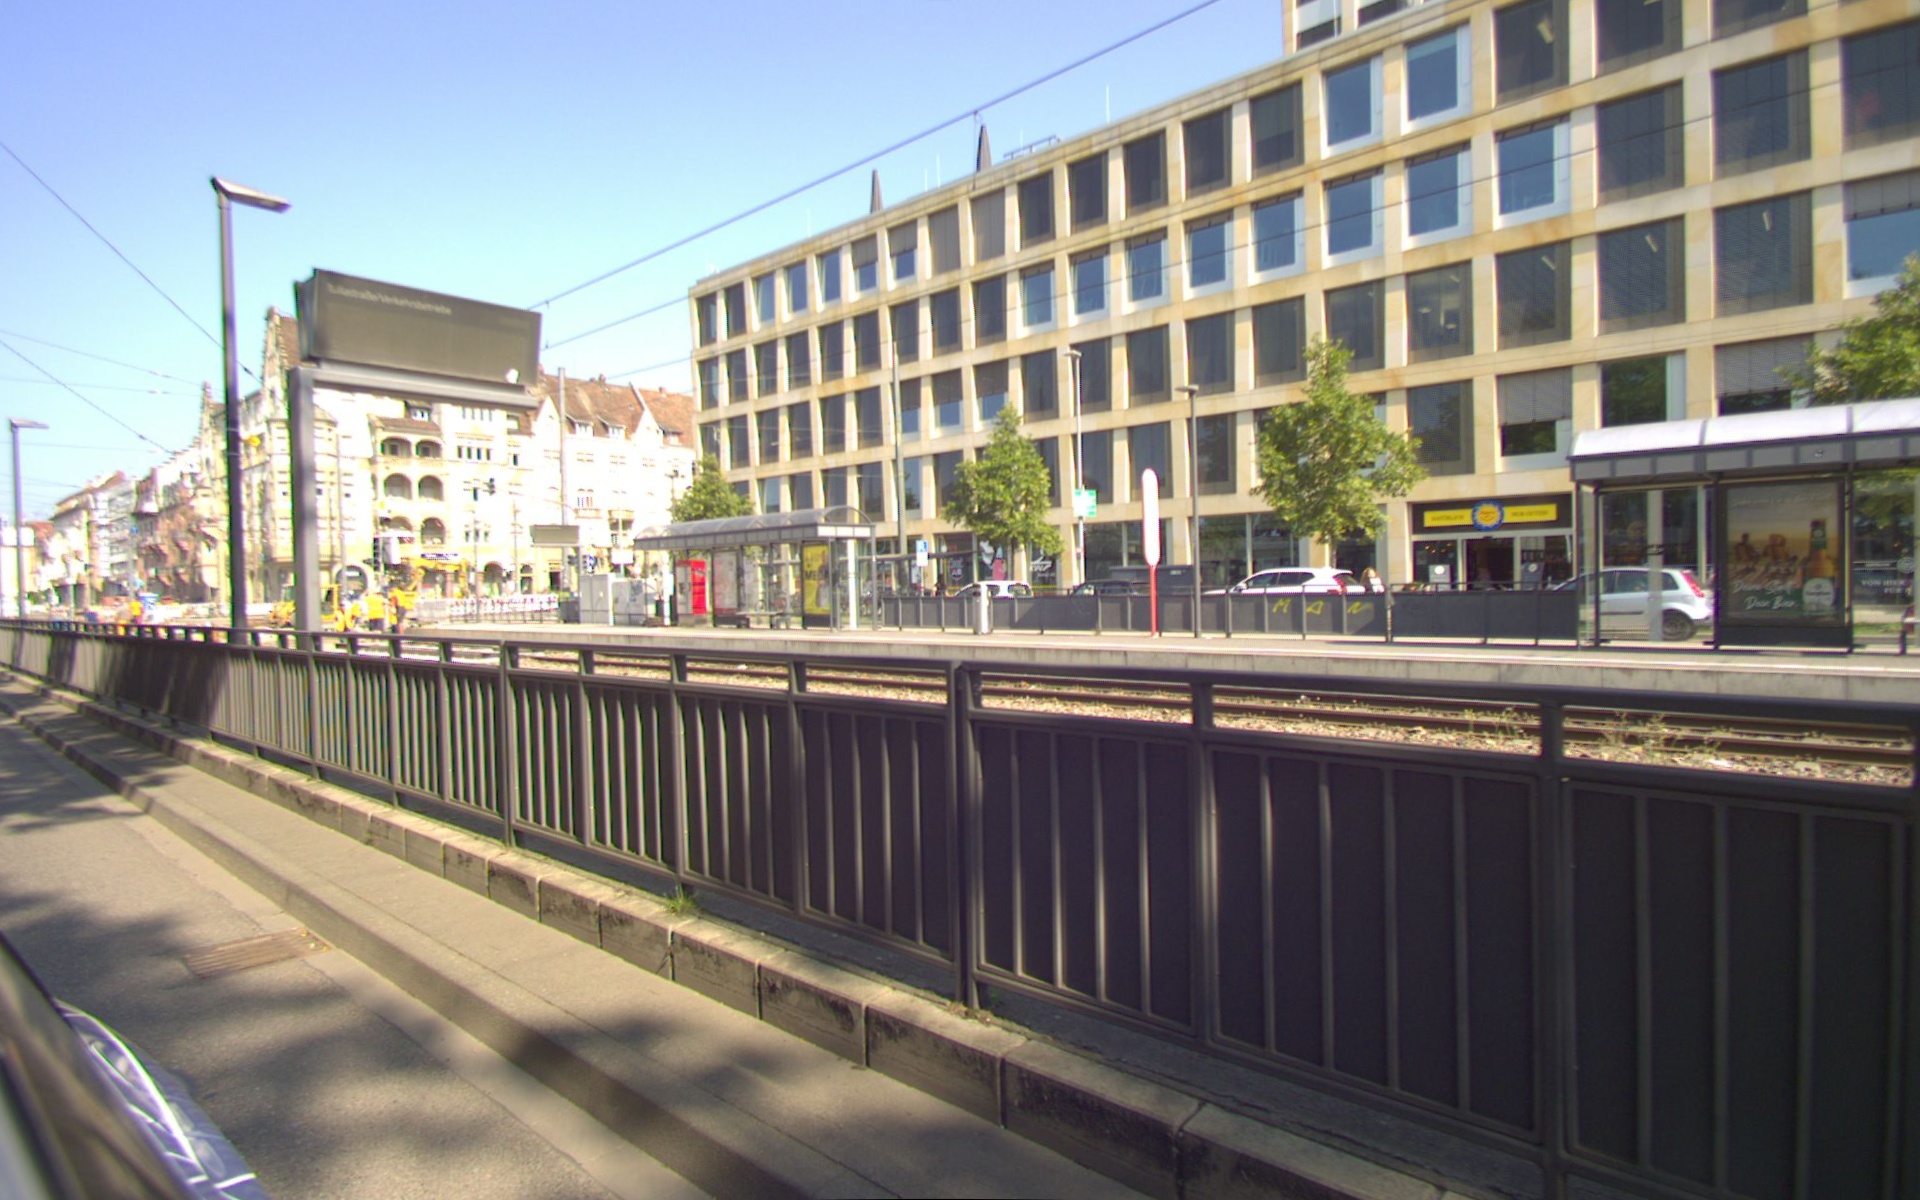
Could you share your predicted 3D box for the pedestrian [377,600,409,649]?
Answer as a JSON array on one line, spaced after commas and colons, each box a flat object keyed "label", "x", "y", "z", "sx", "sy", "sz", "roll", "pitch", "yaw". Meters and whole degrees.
[{"label": "pedestrian", "x": -18.571, "y": 0.800, "z": 33.156, "sx": 0.620, "sy": 1.566, "sz": 0.638, "roll": -2, "pitch": 0, "yaw": 15}]

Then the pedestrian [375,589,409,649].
[{"label": "pedestrian", "x": -17.859, "y": 0.594, "z": 31.839, "sx": 0.634, "sy": 1.829, "sz": 0.624, "roll": -2, "pitch": 0, "yaw": 9}]

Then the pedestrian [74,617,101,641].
[{"label": "pedestrian", "x": -35.765, "y": 1.190, "z": 41.506, "sx": 0.809, "sy": 0.933, "sz": 0.513, "roll": -2, "pitch": 0, "yaw": -39}]

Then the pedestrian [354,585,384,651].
[{"label": "pedestrian", "x": -18.081, "y": 0.547, "z": 30.957, "sx": 0.713, "sy": 1.965, "sz": 0.790, "roll": -2, "pitch": 0, "yaw": -34}]

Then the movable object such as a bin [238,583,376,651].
[{"label": "movable object such as a bin", "x": -32.402, "y": 0.731, "z": 50.071, "sx": 8.475, "sy": 2.979, "sz": 3.576, "roll": 0, "pitch": 3, "yaw": 42}]

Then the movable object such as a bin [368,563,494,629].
[{"label": "movable object such as a bin", "x": -37.346, "y": -0.362, "z": 71.438, "sx": 7.260, "sy": 4.379, "sz": 4.982, "roll": -2, "pitch": 2, "yaw": -35}]

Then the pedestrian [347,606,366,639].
[{"label": "pedestrian", "x": -32.517, "y": 1.194, "z": 54.507, "sx": 0.820, "sy": 1.762, "sz": 0.670, "roll": -2, "pitch": 0, "yaw": -30}]

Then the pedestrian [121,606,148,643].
[{"label": "pedestrian", "x": -35.824, "y": 1.068, "z": 43.940, "sx": 0.804, "sy": 1.578, "sz": 0.558, "roll": -2, "pitch": 0, "yaw": -30}]

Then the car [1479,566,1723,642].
[{"label": "car", "x": 13.090, "y": 0.085, "z": 20.788, "sx": 3.998, "sy": 1.418, "sz": 1.771, "roll": -1, "pitch": 0, "yaw": 41}]

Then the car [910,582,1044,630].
[{"label": "car", "x": 0.495, "y": 0.194, "z": 32.266, "sx": 3.998, "sy": 1.414, "sz": 1.882, "roll": -1, "pitch": 0, "yaw": 41}]

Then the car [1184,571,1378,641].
[{"label": "car", "x": 8.056, "y": 0.154, "z": 25.586, "sx": 4.316, "sy": 1.638, "sz": 1.772, "roll": -1, "pitch": 0, "yaw": 39}]

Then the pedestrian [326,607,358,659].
[{"label": "pedestrian", "x": -20.163, "y": 1.066, "z": 33.013, "sx": 0.657, "sy": 1.675, "sz": 0.774, "roll": -2, "pitch": 0, "yaw": -15}]

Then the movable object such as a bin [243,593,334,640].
[{"label": "movable object such as a bin", "x": -43.138, "y": 0.990, "z": 65.150, "sx": 2.418, "sy": 2.855, "sz": 4.810, "roll": -1, "pitch": 1, "yaw": 4}]

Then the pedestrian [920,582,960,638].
[{"label": "pedestrian", "x": -0.625, "y": 0.300, "z": 31.093, "sx": 0.826, "sy": 1.689, "sz": 0.881, "roll": -2, "pitch": 0, "yaw": -42}]

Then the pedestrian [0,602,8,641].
[{"label": "pedestrian", "x": -39.797, "y": 0.889, "z": 41.684, "sx": 0.691, "sy": 1.578, "sz": 0.752, "roll": -2, "pitch": 0, "yaw": 41}]

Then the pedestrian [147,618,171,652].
[{"label": "pedestrian", "x": -37.793, "y": 1.662, "z": 47.751, "sx": 0.551, "sy": 1.578, "sz": 0.699, "roll": -2, "pitch": 0, "yaw": 13}]

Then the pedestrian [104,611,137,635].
[{"label": "pedestrian", "x": -35.371, "y": 0.963, "z": 42.639, "sx": 0.919, "sy": 0.996, "sz": 0.513, "roll": -2, "pitch": 0, "yaw": -13}]

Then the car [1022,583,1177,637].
[{"label": "car", "x": 3.949, "y": 0.280, "z": 28.999, "sx": 3.998, "sy": 1.414, "sz": 1.882, "roll": -1, "pitch": 0, "yaw": 41}]

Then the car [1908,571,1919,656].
[{"label": "car", "x": 18.198, "y": 0.176, "z": 16.149, "sx": 4.371, "sy": 1.418, "sz": 1.666, "roll": -1, "pitch": 0, "yaw": 41}]
